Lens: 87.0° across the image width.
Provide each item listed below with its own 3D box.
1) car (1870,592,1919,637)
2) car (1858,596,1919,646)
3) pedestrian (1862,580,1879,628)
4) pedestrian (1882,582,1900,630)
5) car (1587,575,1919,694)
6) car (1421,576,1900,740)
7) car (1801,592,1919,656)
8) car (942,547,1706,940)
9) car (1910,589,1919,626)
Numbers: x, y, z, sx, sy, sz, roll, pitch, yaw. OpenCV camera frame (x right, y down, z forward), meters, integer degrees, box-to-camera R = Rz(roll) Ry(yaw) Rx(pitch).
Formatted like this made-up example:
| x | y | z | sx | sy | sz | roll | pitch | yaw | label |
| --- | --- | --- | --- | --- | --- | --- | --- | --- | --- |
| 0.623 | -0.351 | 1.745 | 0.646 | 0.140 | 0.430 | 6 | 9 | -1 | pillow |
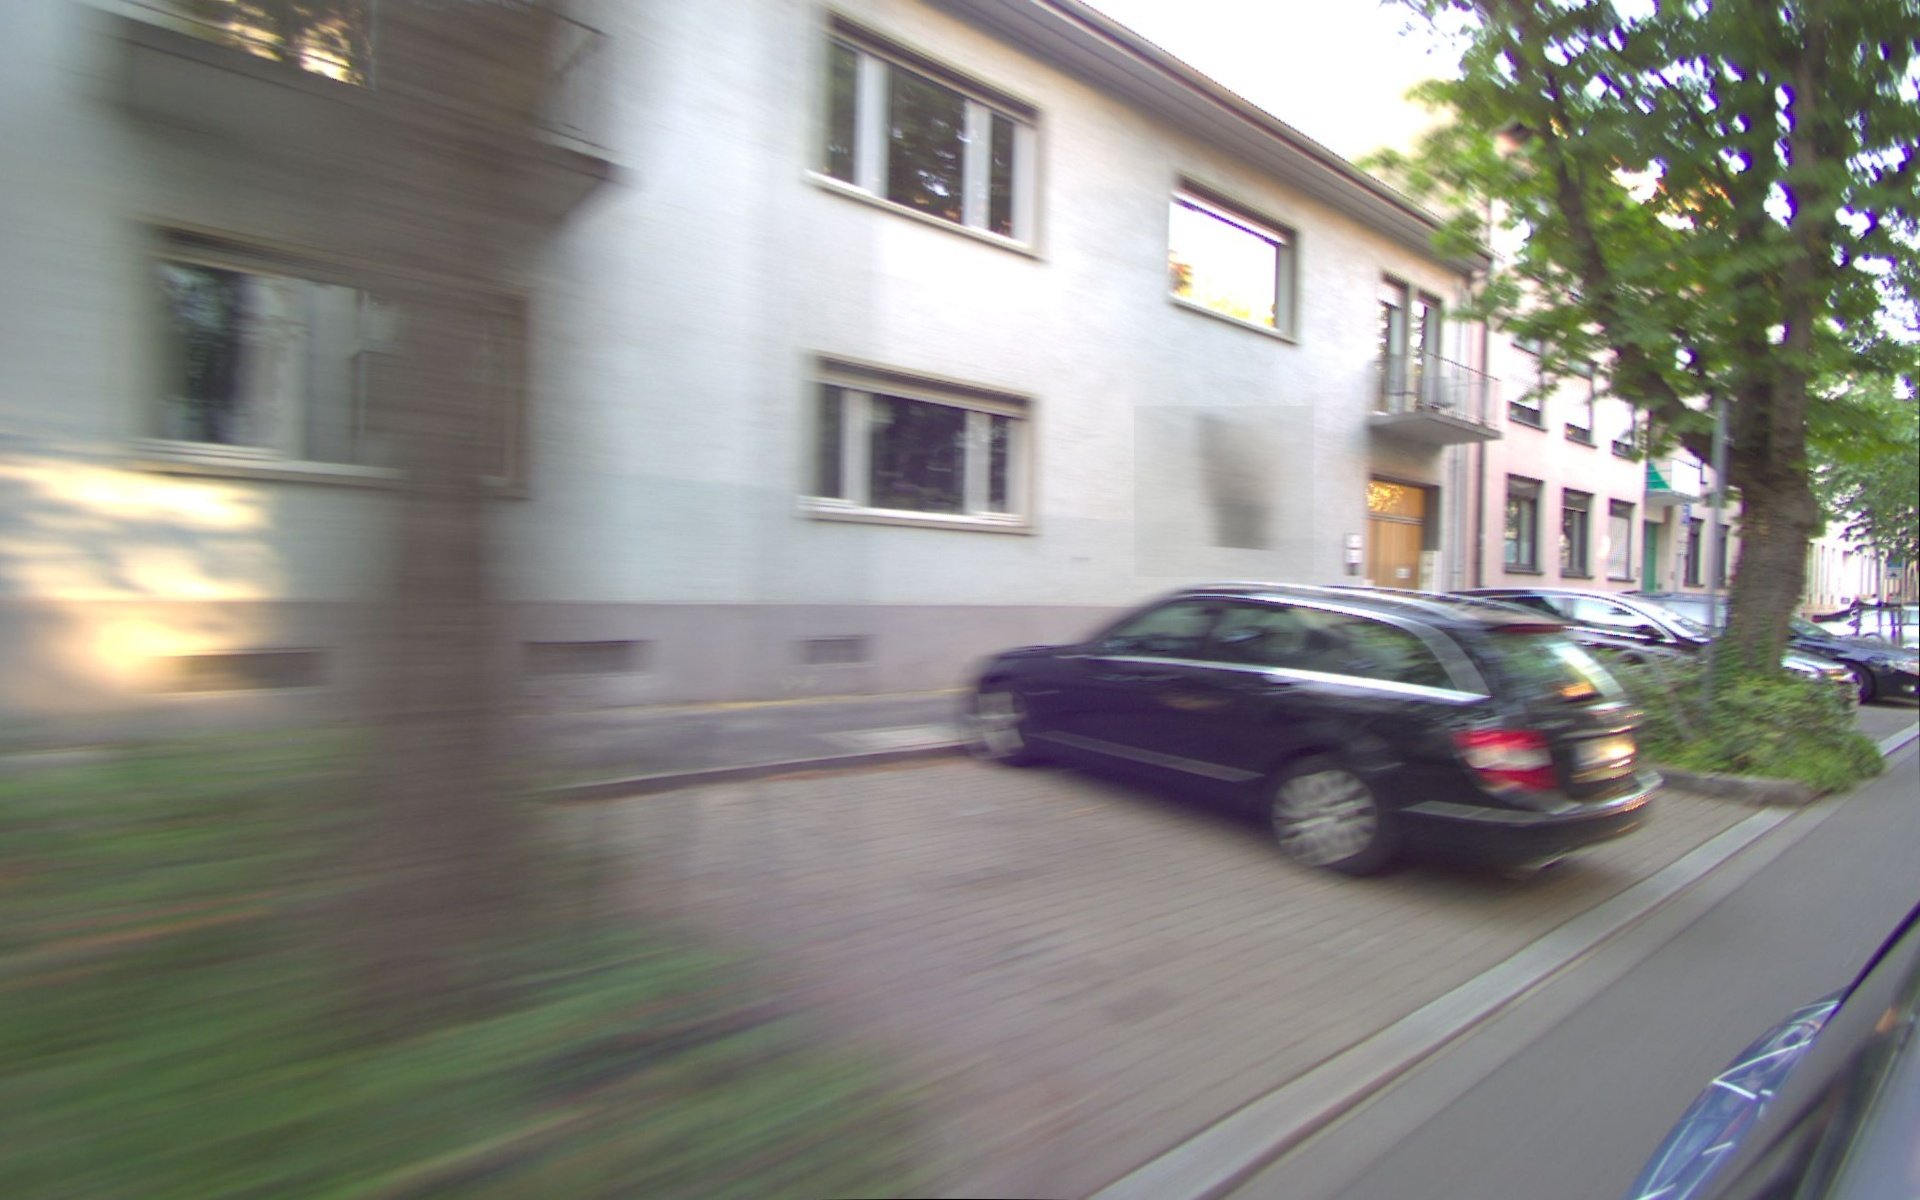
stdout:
| x | y | z | sx | sy | sz | roll | pitch | yaw | label |
| --- | --- | --- | --- | --- | --- | --- | --- | --- | --- |
| 33.124 | 0.562 | 33.768 | 1.645 | 1.415 | 3.859 | 1 | 3 | -39 | car |
| 29.605 | 0.700 | 30.236 | 1.644 | 1.415 | 3.862 | 1 | 3 | -37 | car |
| 39.360 | 0.166 | 43.754 | 0.476 | 2.038 | 0.449 | 1 | 1 | -40 | pedestrian |
| 39.818 | 0.239 | 43.296 | 0.476 | 2.038 | 0.449 | 1 | 1 | -40 | pedestrian |
| 13.118 | 0.461 | 16.499 | 1.665 | 1.488 | 4.597 | 0 | 3 | -38 | car |
| 8.332 | 0.539 | 12.424 | 1.916 | 1.542 | 4.457 | 0 | 2 | -39 | car |
| 23.545 | 0.621 | 25.161 | 1.647 | 1.415 | 3.854 | 0 | 3 | -43 | car |
| 1.836 | 0.514 | 6.493 | 1.698 | 1.487 | 4.375 | 1 | 4 | -35 | car |
| 39.613 | 0.412 | 39.207 | 1.645 | 1.415 | 3.859 | 1 | 3 | -39 | car |
